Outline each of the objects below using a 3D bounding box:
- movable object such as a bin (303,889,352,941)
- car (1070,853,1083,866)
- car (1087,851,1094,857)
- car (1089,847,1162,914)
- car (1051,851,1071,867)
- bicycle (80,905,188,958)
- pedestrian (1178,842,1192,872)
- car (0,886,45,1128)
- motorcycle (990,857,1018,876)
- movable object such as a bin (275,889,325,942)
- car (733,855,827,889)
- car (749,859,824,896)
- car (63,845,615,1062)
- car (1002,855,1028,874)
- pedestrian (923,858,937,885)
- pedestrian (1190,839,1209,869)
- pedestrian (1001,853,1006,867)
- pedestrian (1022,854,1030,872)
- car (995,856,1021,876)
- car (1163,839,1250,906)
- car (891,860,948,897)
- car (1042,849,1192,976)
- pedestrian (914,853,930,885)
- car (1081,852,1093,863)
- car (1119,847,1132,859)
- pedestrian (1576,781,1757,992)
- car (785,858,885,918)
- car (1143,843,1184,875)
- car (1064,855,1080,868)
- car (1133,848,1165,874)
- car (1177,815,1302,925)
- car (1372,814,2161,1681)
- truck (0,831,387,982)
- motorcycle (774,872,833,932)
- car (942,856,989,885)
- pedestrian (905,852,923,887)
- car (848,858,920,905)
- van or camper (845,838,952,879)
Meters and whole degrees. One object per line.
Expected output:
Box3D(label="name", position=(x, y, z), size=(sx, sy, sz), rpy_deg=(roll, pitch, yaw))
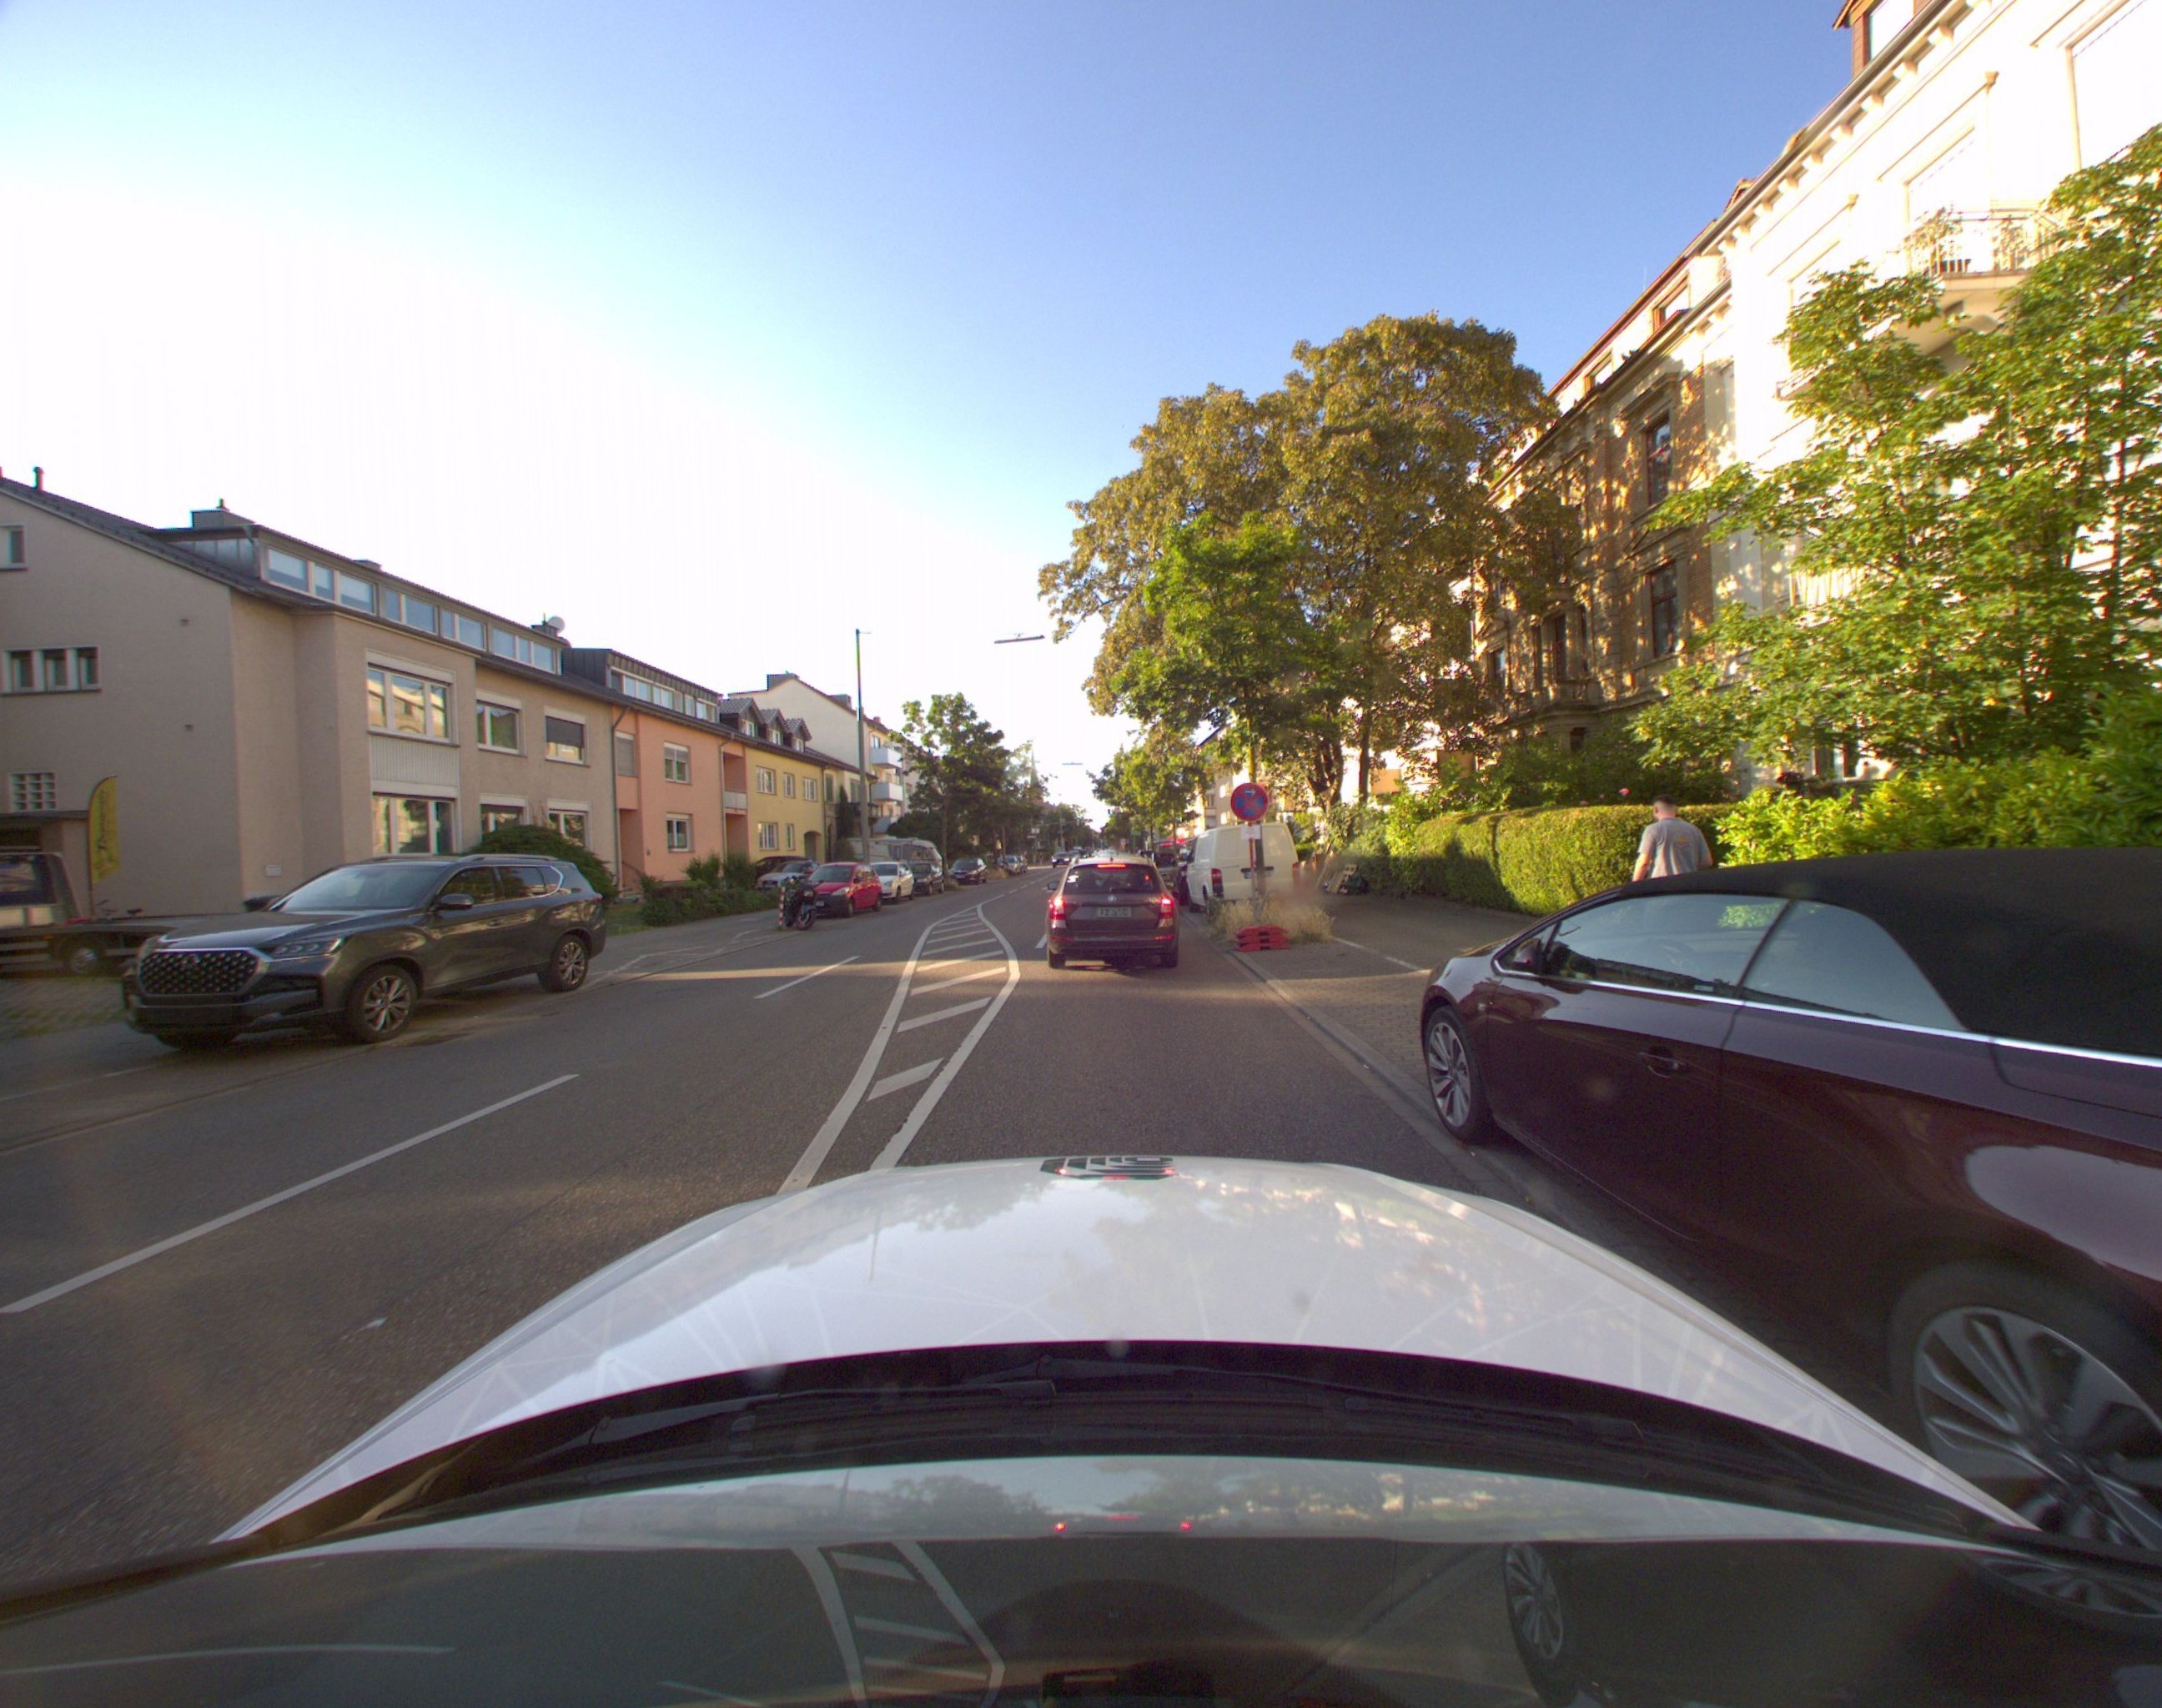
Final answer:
Box3D(label="movable object such as a bin", position=(-16.482, 1.325, 17.831), size=(0.487, 1.090, 0.586), rpy_deg=(-2, 0, 2))
Box3D(label="car", position=(-0.640, 0.763, 122.548), size=(1.799, 1.804, 4.747), rpy_deg=(-4, 0, 1))
Box3D(label="car", position=(2.560, 0.068, 216.688), size=(1.823, 1.579, 4.002), rpy_deg=(-2, 0, 2))
Box3D(label="car", position=(1.148, 0.628, 21.312), size=(1.730, 1.571, 4.003), rpy_deg=(0, 0, 3))
Box3D(label="car", position=(-2.175, 0.579, 88.856), size=(1.829, 1.570, 4.001), rpy_deg=(-4, 0, 1))
Box3D(label="bicycle", position=(-19.891, 1.613, 17.112), size=(1.587, 0.930, 0.590), rpy_deg=(-5, 0, 4))
Box3D(label="pedestrian", position=(6.451, 0.182, 50.341), size=(0.660, 1.749, 0.772), rpy_deg=(-4, 0, 1))
Box3D(label="car", position=(-7.802, 1.021, 4.106), size=(1.567, 1.555, 2.750), rpy_deg=(-2, 0, 0))
Box3D(label="motorcycle", position=(-5.620, 0.917, 59.508), size=(2.028, 1.265, 0.772), rpy_deg=(-3, 0, 40))
Box3D(label="movable object such as a bin", position=(-17.125, 1.333, 17.855), size=(0.487, 1.090, 0.586), rpy_deg=(-2, 0, 2))
Box3D(label="car", position=(-14.959, 0.883, 40.575), size=(3.971, 1.636, 1.867), rpy_deg=(0, 0, 2))
Box3D(label="car", position=(-12.694, 0.990, 35.351), size=(1.658, 1.409, 3.756), rpy_deg=(-3, 0, 3))
Box3D(label="car", position=(-7.678, 0.844, 9.303), size=(1.881, 1.779, 4.726), rpy_deg=(-2, 0, 0))
Box3D(label="car", position=(-5.462, 0.857, 67.849), size=(1.642, 1.517, 4.076), rpy_deg=(-1, 0, 2))
Box3D(label="pedestrian", position=(-8.368, 0.962, 45.154), size=(0.587, 1.496, 0.543), rpy_deg=(-2, 0, 4))
Box3D(label="pedestrian", position=(6.697, -0.014, 46.022), size=(0.748, 1.640, 0.700), rpy_deg=(-2, 0, 38))
Box3D(label="pedestrian", position=(-9.957, 0.731, 104.837), size=(0.447, 1.797, 0.504), rpy_deg=(-2, 0, 2))
Box3D(label="pedestrian", position=(-6.004, 0.976, 88.833), size=(0.777, 1.987, 0.821), rpy_deg=(-2, 0, 2))
Box3D(label="car", position=(-5.622, 0.894, 63.220), size=(1.587, 1.470, 3.805), rpy_deg=(0, 0, 2))
Box3D(label="car", position=(3.512, 0.476, 23.507), size=(1.849, 1.603, 4.312), rpy_deg=(-5, 0, 1))
Box3D(label="car", position=(-6.798, 0.993, 34.505), size=(1.537, 1.396, 3.667), rpy_deg=(-2, 0, 2))
Box3D(label="car", position=(0.484, 0.697, 11.898), size=(1.766, 1.489, 4.312), rpy_deg=(-1, 0, 1))
Box3D(label="pedestrian", position=(-8.966, 0.828, 45.941), size=(0.710, 1.792, 0.572), rpy_deg=(-2, 0, 4))
Box3D(label="car", position=(1.105, 0.633, 153.502), size=(1.986, 1.908, 4.965), rpy_deg=(-4, 0, 1))
Box3D(label="car", position=(7.052, -0.169, 129.366), size=(1.984, 1.772, 4.005), rpy_deg=(0, 0, 5))
Box3D(label="pedestrian", position=(5.360, 0.276, 7.534), size=(0.818, 1.774, 1.088), rpy_deg=(-2, 0, -2))
Box3D(label="car", position=(-7.018, 0.925, 23.571), size=(1.585, 1.523, 3.440), rpy_deg=(-2, 0, 4))
Box3D(label="car", position=(4.245, 0.247, 42.259), size=(1.702, 1.480, 4.270), rpy_deg=(-4, 0, 1))
Box3D(label="car", position=(-1.111, 0.932, 106.685), size=(1.754, 1.452, 4.536), rpy_deg=(-4, 0, 2))
Box3D(label="car", position=(4.506, 0.445, 54.604), size=(1.849, 1.581, 4.015), rpy_deg=(-4, 0, 1))
Box3D(label="car", position=(3.418, 0.313, 18.453), size=(1.897, 2.103, 4.640), rpy_deg=(-2, 0, 0))
Box3D(label="car", position=(2.712, 0.642, 2.846), size=(1.751, 1.420, 4.616), rpy_deg=(-4, 0, 1))
Box3D(label="truck", position=(-16.143, 0.860, 13.735), size=(6.869, 2.185, 2.277), rpy_deg=(-2, 0, 1))
Box3D(label="motorcycle", position=(-6.754, 1.116, 19.751), size=(1.184, 1.266, 2.352), rpy_deg=(-2, 0, -22))
Box3D(label="car", position=(-6.497, 0.907, 46.401), size=(1.860, 1.494, 4.519), rpy_deg=(-1, 0, 2))
Box3D(label="pedestrian", position=(-8.712, 0.786, 42.538), size=(0.710, 1.792, 0.506), rpy_deg=(-2, 0, 4))
Box3D(label="car", position=(-7.122, 0.955, 29.739), size=(1.587, 1.523, 3.891), rpy_deg=(-2, 0, 1))
Box3D(label="van or camper", position=(-12.424, 0.305, 55.752), size=(6.774, 2.772, 2.352), rpy_deg=(0, 0, 0))
